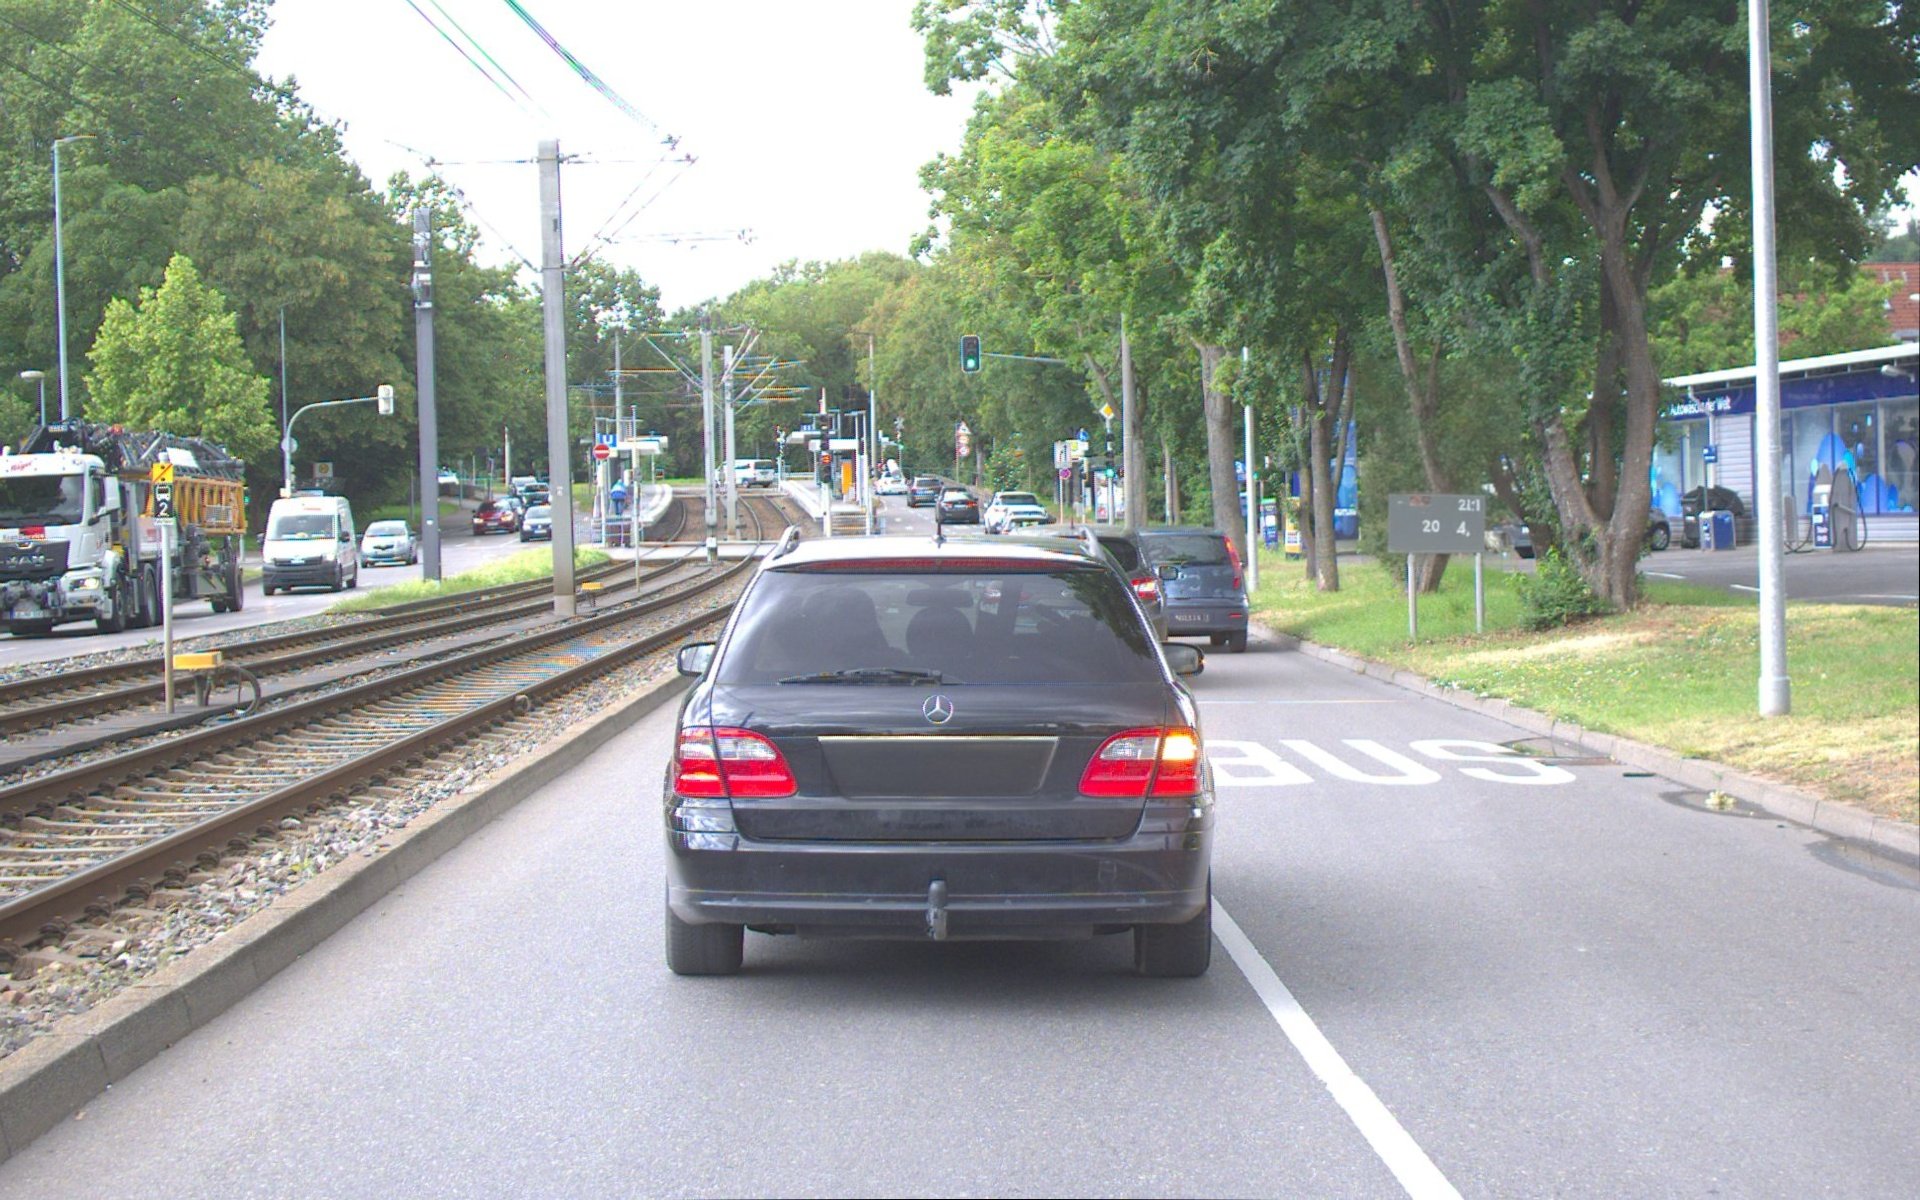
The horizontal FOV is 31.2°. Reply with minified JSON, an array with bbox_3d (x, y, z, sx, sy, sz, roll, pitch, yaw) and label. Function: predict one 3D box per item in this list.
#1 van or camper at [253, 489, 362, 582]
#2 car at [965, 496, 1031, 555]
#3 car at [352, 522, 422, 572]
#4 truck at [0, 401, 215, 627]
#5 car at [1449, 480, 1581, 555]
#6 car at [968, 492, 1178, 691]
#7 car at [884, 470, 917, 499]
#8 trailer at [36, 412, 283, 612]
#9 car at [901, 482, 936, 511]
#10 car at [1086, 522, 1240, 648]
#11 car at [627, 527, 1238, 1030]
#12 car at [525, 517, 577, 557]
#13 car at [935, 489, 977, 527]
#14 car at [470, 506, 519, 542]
[{"bbox_3d":[-17.364,-1.745,91.782,1.993,2.346,5.767,-2,1,-3],"label":"van or camper"},{"bbox_3d":[1.206,-2.400,110.970,1.993,1.831,4.000,0,1,-1],"label":"car"},{"bbox_3d":[-19.348,-1.798,116.099,1.765,1.641,3.771,0,1,-1],"label":"car"},{"bbox_3d":[-15.691,-1.525,61.893,2.706,3.651,11.114,-2,1,-4],"label":"truck"},{"bbox_3d":[13.346,-1.988,82.461,2.008,1.676,4.574,-1,2,24],"label":"car"},{"bbox_3d":[1.002,-0.107,32.285,1.780,1.744,3.718,1,1,-1],"label":"car"},{"bbox_3d":[-3.614,-7.017,209.542,1.993,1.708,4.000,-1,2,-1],"label":"car"},{"bbox_3d":[-16.250,-1.804,70.832,2.704,3.648,13.301,-2,1,-4],"label":"trailer"},{"bbox_3d":[-2.248,-5.594,186.316,1.666,1.527,3.771,0,1,-4],"label":"car"},{"bbox_3d":[2.369,-0.198,40.772,1.571,1.410,3.354,1,1,-1],"label":"car"},{"bbox_3d":[-0.103,0.491,12.131,1.808,1.469,3.881,0,2,-1],"label":"car"},{"bbox_3d":[-16.981,-2.630,142.791,1.765,1.641,3.771,0,1,-1],"label":"car"},{"bbox_3d":[-0.222,-4.484,167.904,1.993,1.831,4.000,0,1,-1],"label":"car"},{"bbox_3d":[-21.633,-3.511,159.908,1.765,1.641,3.771,0,1,-1],"label":"car"}]
